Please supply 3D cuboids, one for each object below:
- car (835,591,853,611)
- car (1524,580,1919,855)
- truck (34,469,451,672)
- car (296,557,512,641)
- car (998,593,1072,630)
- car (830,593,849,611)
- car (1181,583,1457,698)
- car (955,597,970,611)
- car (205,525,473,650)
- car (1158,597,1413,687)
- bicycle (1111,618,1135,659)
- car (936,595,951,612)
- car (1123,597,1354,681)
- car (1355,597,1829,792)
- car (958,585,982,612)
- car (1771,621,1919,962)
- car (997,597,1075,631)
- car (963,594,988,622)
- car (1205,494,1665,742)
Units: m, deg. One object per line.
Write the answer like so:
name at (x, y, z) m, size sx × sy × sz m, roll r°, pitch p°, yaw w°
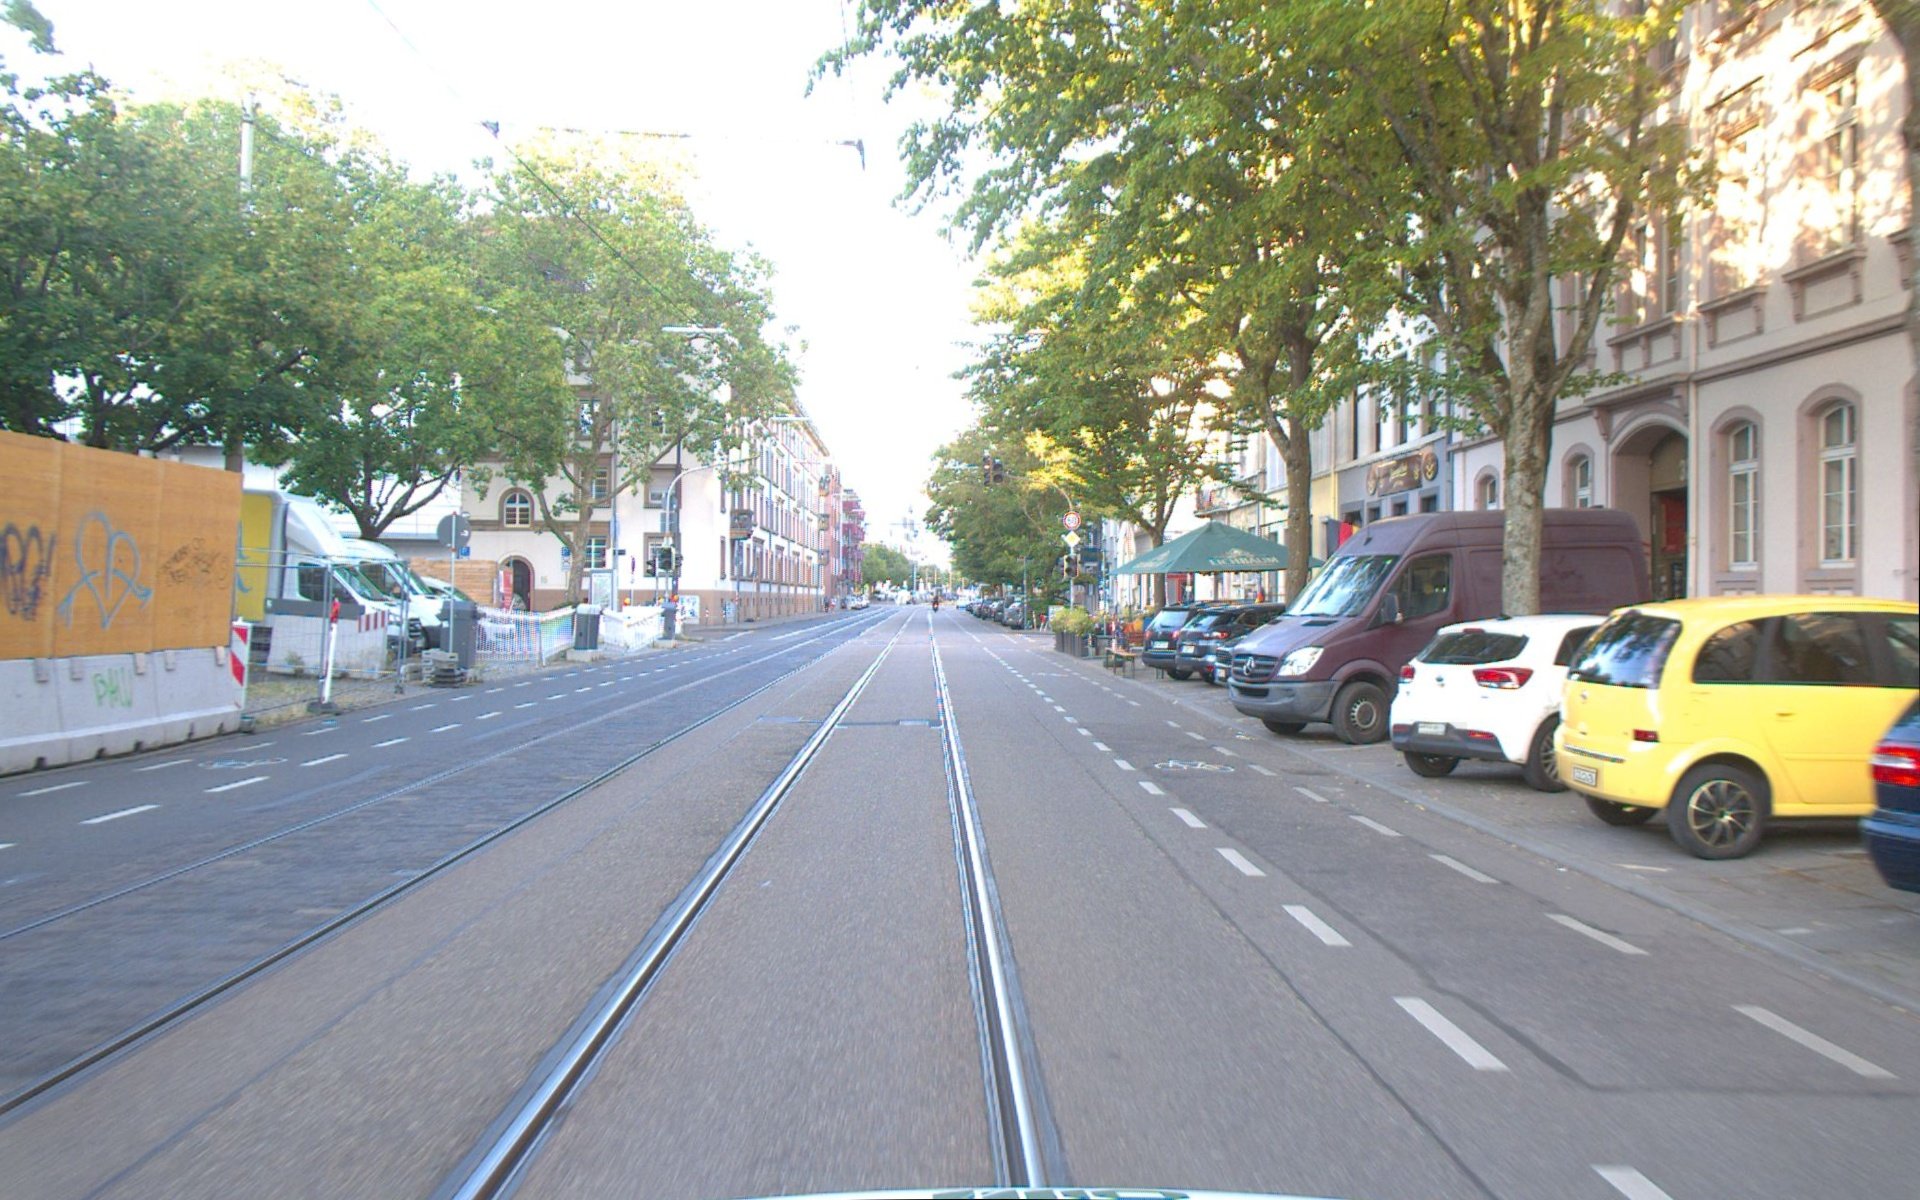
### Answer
car at (-13.438, 0.085, 191.803) m, size 1.859 × 2.216 × 3.999 m, roll 1°, pitch 0°, yaw -1°
car at (6.102, 0.702, 11.208) m, size 3.870 × 1.648 × 1.920 m, roll -2°, pitch 0°, yaw -1°
truck at (-13.918, -0.549, 32.526) m, size 6.919 × 3.541 × 2.539 m, roll 2°, pitch 0°, yaw -5°
car at (-14.810, -0.049, 44.244) m, size 4.922 × 1.979 × 2.228 m, roll 2°, pitch 0°, yaw 3°
car at (3.950, 0.598, 87.259) m, size 3.808 × 1.880 × 1.861 m, roll 0°, pitch -1°, yaw 0°
car at (-13.600, 0.205, 187.153) m, size 1.859 × 2.049 × 3.999 m, roll 1°, pitch 0°, yaw -1°
car at (5.694, 0.629, 26.461) m, size 3.937 × 1.737 × 1.815 m, roll 0°, pitch -1°, yaw -8°
car at (0.291, 0.543, 218.295) m, size 1.923 × 1.748 × 3.999 m, roll 1°, pitch 0°, yaw -1°
car at (-14.290, -0.290, 38.351) m, size 5.293 × 2.603 × 2.225 m, roll 2°, pitch 0°, yaw -4°
car at (5.897, 0.738, 30.080) m, size 4.109 × 1.488 × 1.999 m, roll -1°, pitch 0°, yaw -17°
bicycle at (4.277, 1.005, 43.405) m, size 0.410 × 1.033 × 1.829 m, roll 1°, pitch 0°, yaw -1°
car at (-2.090, 0.420, 206.924) m, size 1.859 × 2.049 × 3.999 m, roll 1°, pitch 0°, yaw -1°
car at (5.511, 0.735, 32.724) m, size 4.124 × 1.525 × 1.992 m, roll -1°, pitch 0°, yaw -26°
car at (5.818, 0.793, 15.243) m, size 3.901 × 1.512 × 1.905 m, roll -1°, pitch -1°, yaw -25°
car at (0.747, -0.086, 129.830) m, size 1.768 × 2.049 × 3.999 m, roll 1°, pitch 0°, yaw -1°
car at (6.055, 0.793, 7.844) m, size 4.072 × 1.450 × 1.904 m, roll -1°, pitch -1°, yaw -27°
car at (3.740, 0.680, 81.818) m, size 3.808 × 1.620 × 1.861 m, roll 0°, pitch 0°, yaw 0°
car at (1.095, 0.578, 121.147) m, size 1.687 × 2.049 × 3.999 m, roll 1°, pitch 0°, yaw -1°
car at (5.690, 0.155, 19.891) m, size 5.016 × 2.689 × 2.011 m, roll -2°, pitch 0°, yaw -18°
